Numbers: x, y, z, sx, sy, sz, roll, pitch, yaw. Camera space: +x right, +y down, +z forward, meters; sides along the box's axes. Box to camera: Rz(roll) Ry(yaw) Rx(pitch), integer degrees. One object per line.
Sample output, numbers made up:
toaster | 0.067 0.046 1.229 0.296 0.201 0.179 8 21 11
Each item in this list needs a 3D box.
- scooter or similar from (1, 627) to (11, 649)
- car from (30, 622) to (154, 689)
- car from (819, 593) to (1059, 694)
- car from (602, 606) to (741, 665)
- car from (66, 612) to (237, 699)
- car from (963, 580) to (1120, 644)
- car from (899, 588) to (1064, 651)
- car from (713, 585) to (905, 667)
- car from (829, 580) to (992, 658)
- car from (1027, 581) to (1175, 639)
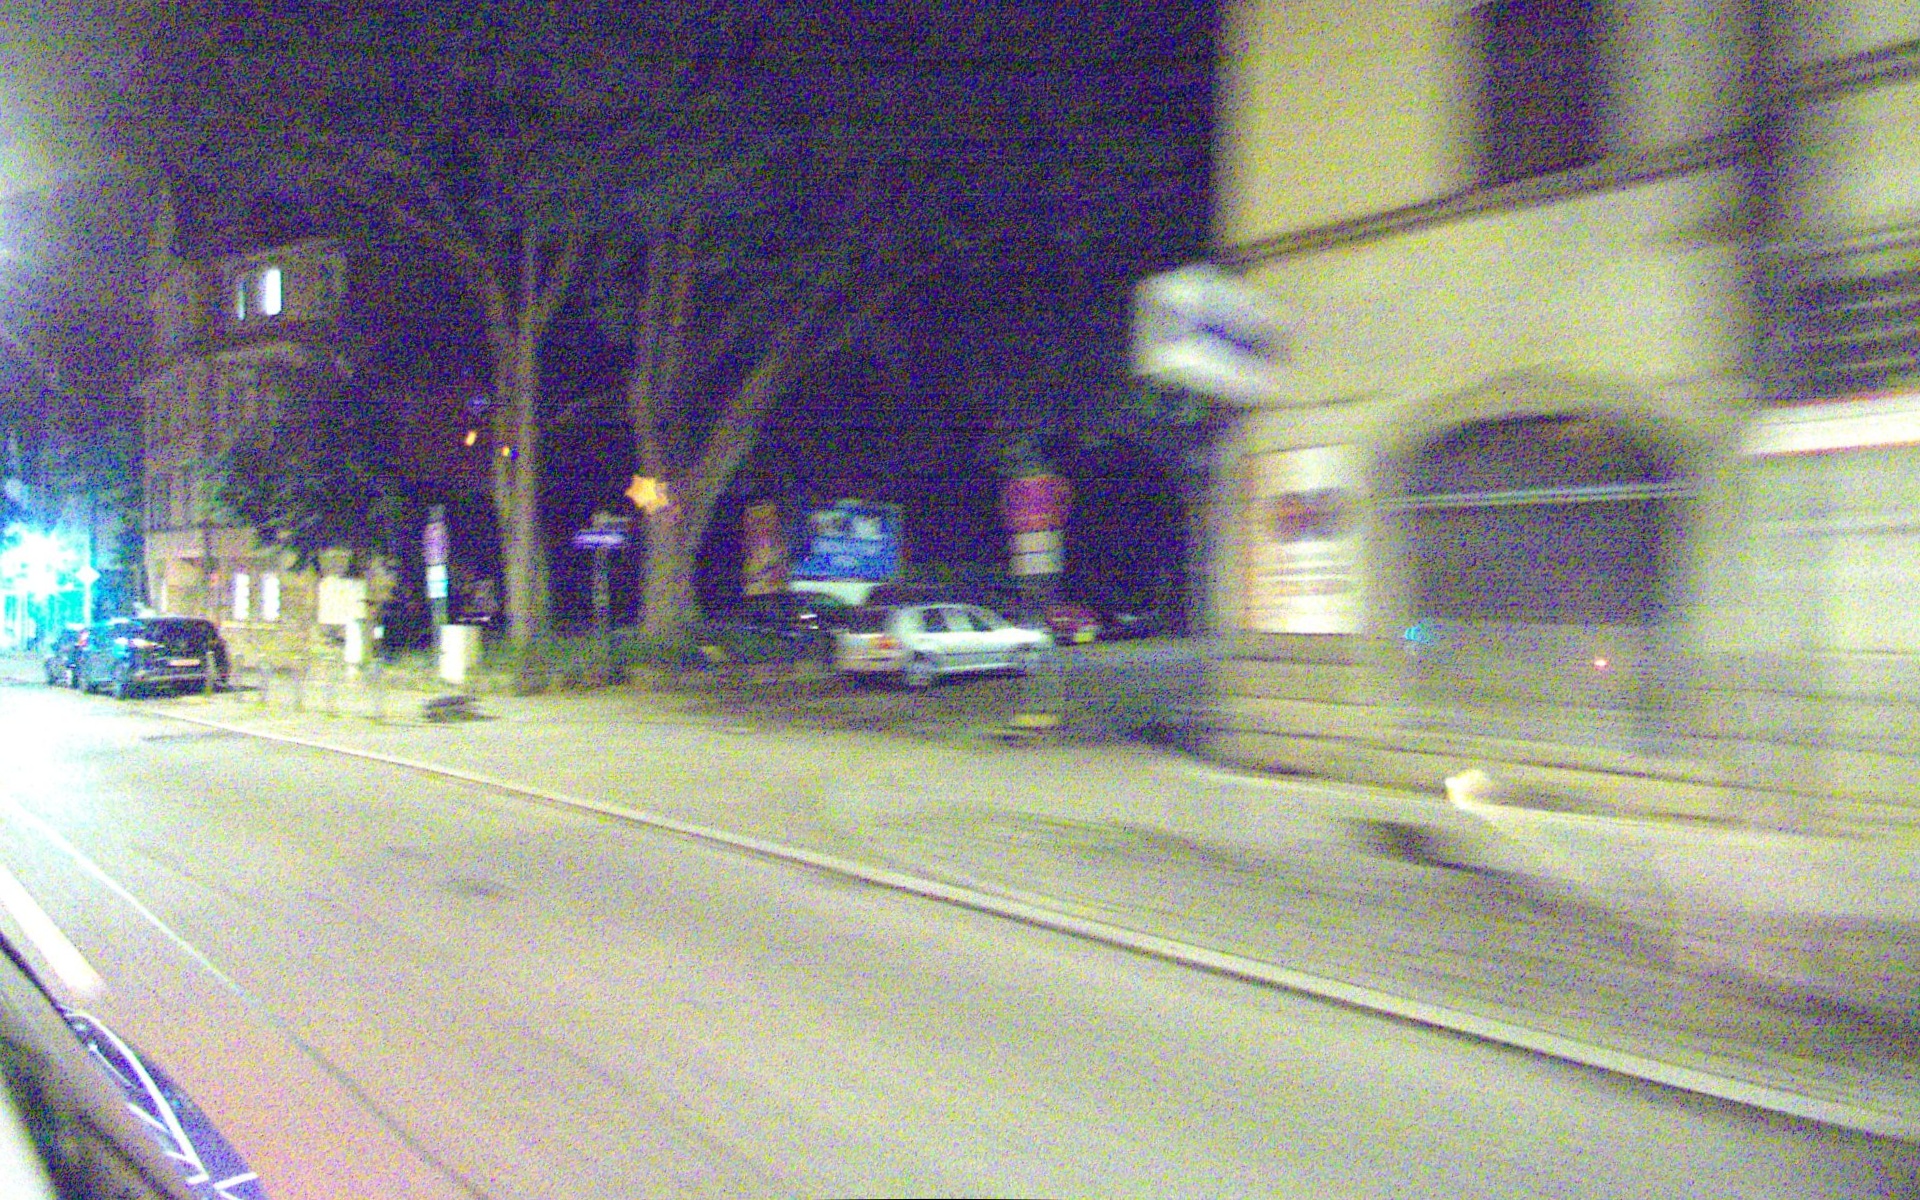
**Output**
scooter or similar | -54.535 2.145 57.866 1.335 1.235 0.328 -1 0 43
car | -21.969 1.339 25.579 3.696 1.526 1.632 -1 0 37
car | -0.296 0.687 17.785 3.937 1.435 1.765 -3 1 -40
car | -7.173 0.844 25.049 3.559 1.326 1.541 -1 0 39
car | -17.585 1.173 21.934 4.664 1.663 1.831 -2 -1 38
car | 2.098 0.306 27.072 1.822 1.555 4.159 -1 0 -38
car | 0.445 0.461 25.216 1.652 1.428 4.334 -1 0 -40
car | -3.316 0.526 21.828 4.184 1.549 1.739 -1 2 40
car | -1.241 0.407 23.778 1.734 1.618 3.987 -3 1 -40
car | 3.993 0.269 29.183 1.861 1.551 4.006 -1 0 -40
